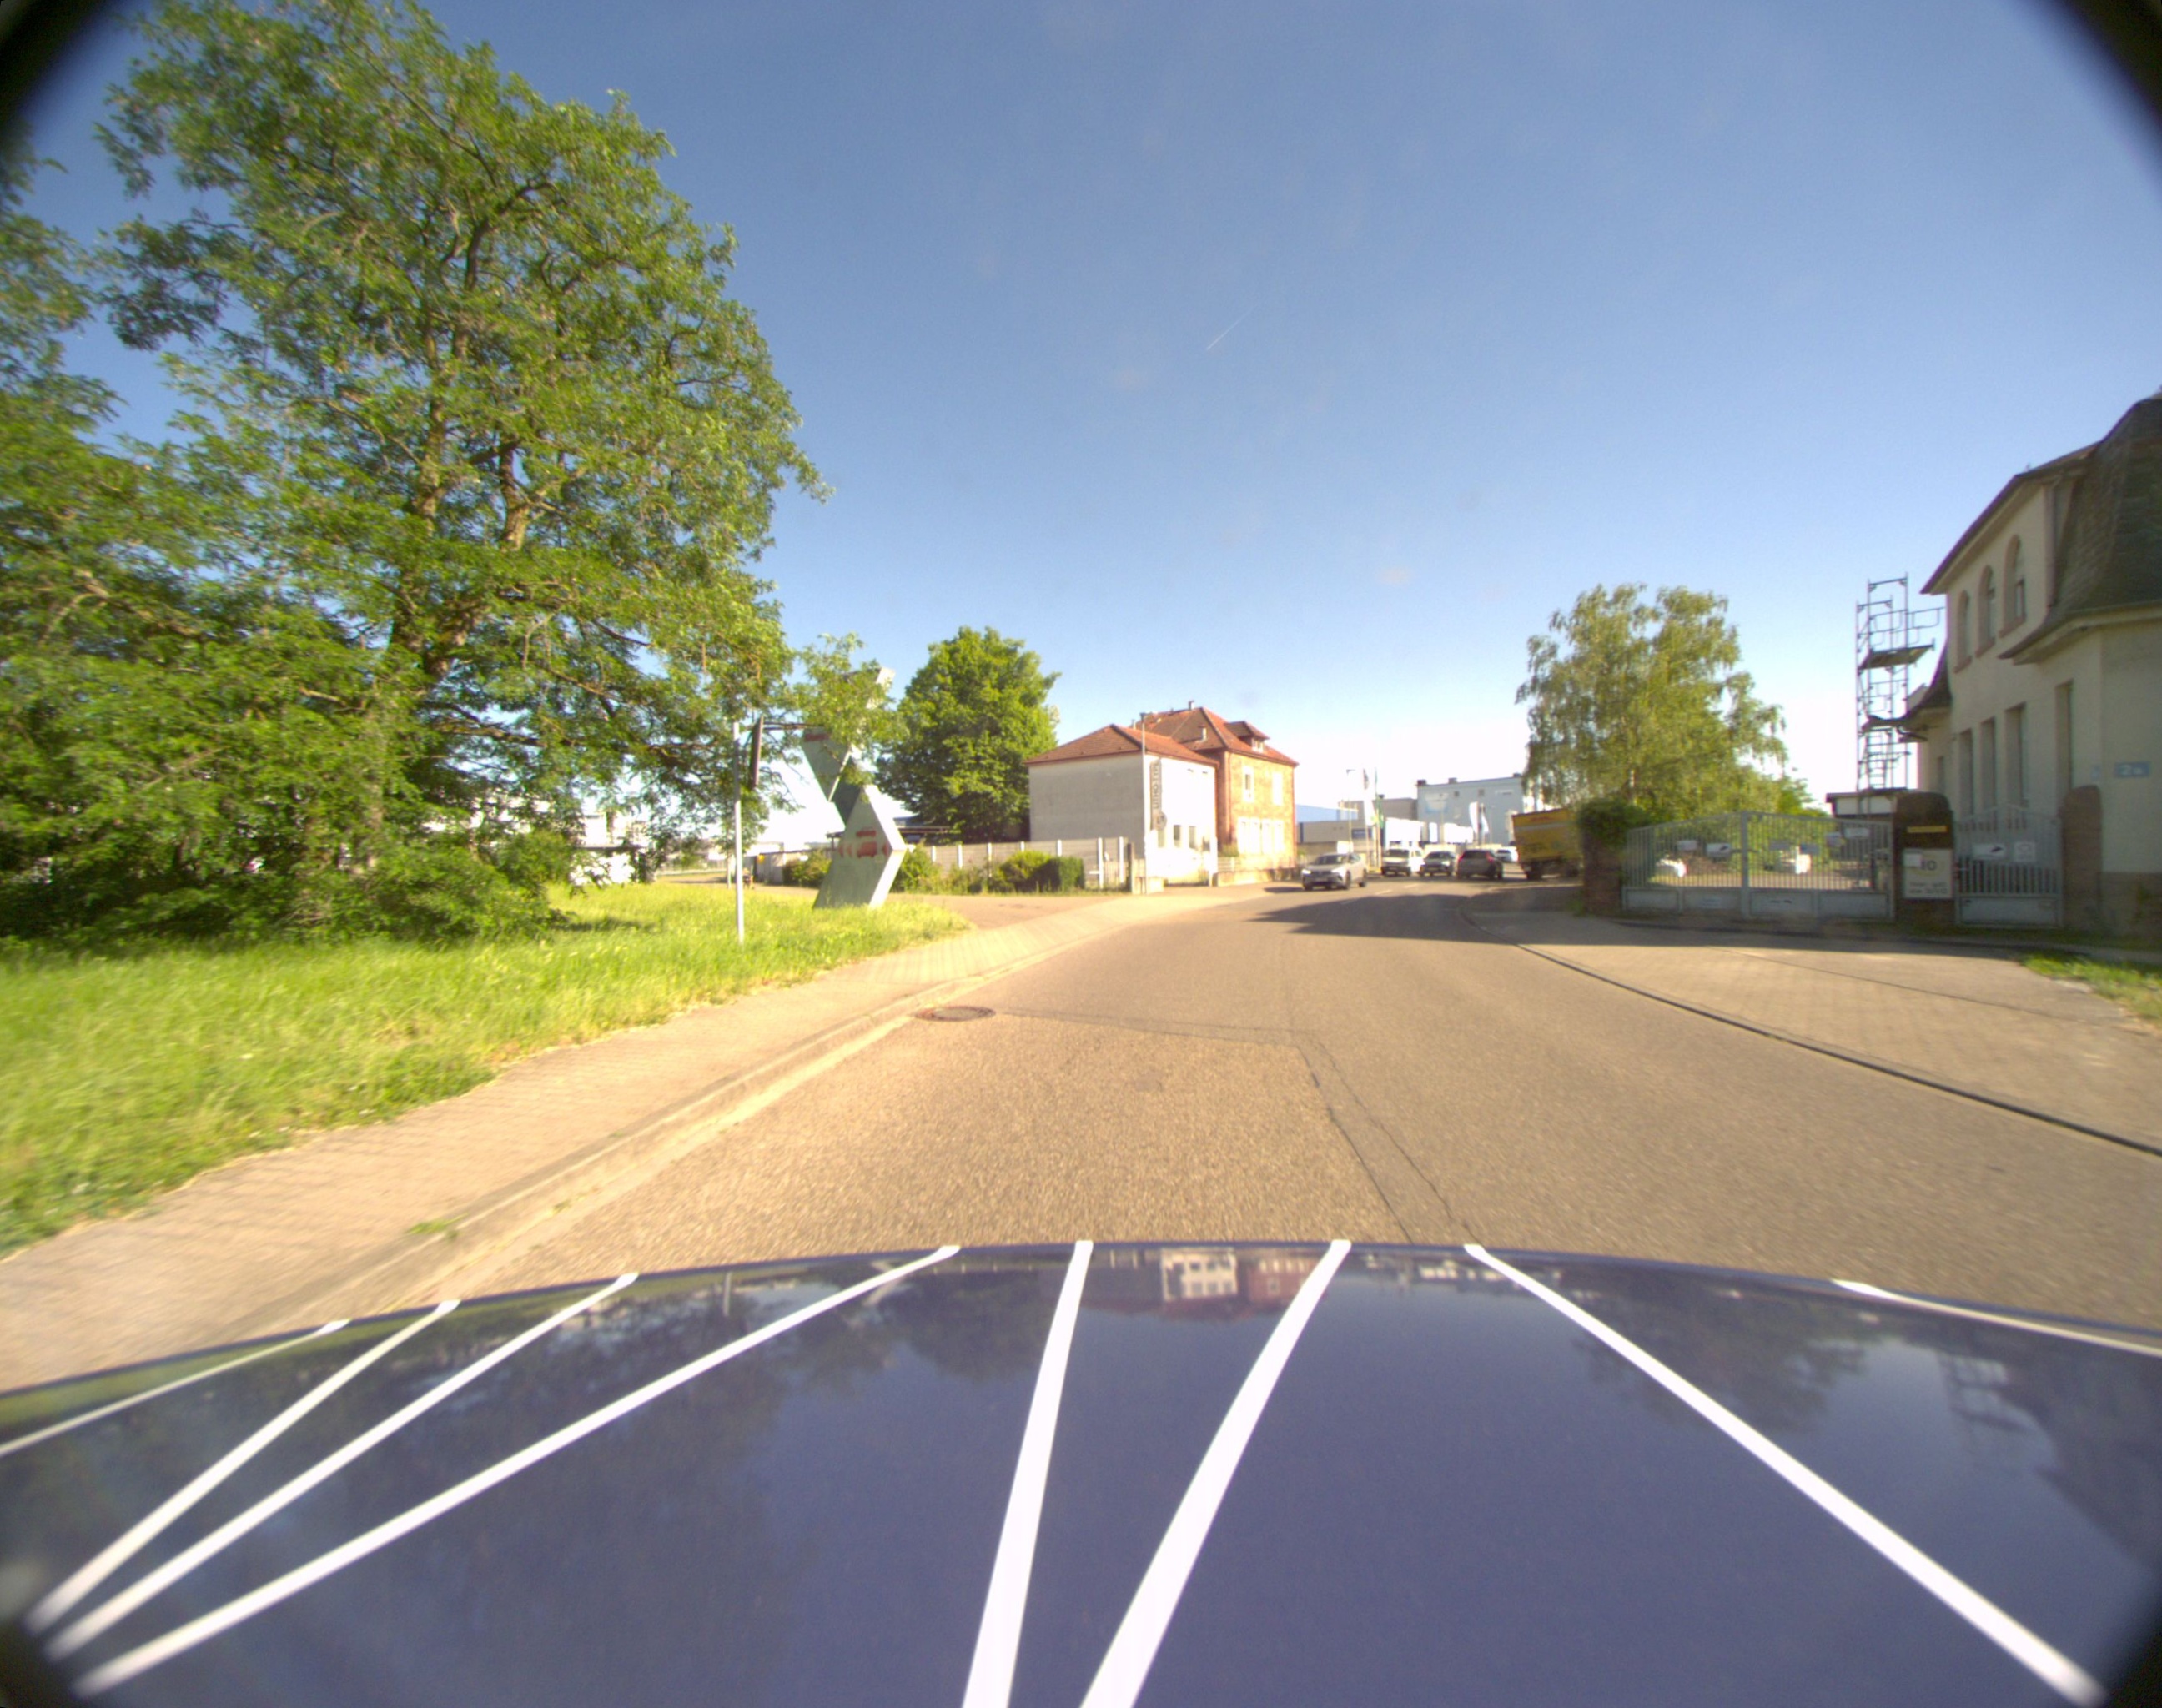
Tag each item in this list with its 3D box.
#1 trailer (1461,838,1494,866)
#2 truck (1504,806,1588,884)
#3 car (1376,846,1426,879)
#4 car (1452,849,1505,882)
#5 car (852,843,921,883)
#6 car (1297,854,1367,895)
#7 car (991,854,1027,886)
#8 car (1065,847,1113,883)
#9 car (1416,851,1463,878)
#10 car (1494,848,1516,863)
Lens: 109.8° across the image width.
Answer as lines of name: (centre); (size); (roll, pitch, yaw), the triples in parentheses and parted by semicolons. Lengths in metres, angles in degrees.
trailer: (40.036, -0.190, 76.621); (2.157, 2.701, 4.206); (0, 0, 38)
truck: (25.307, -0.424, 41.167); (2.844, 3.596, 8.023); (-7, -4, 36)
car: (21.670, 0.528, 51.323); (1.847, 2.001, 4.724); (-5, -3, 37)
car: (21.889, 0.608, 41.755); (1.994, 1.685, 4.575); (-1, 0, 35)
car: (-12.880, 0.577, 50.112); (5.019, 2.526, 1.842); (0, 0, 41)
car: (11.014, 0.838, 33.146); (1.846, 1.621, 4.304); (-1, 0, 33)
car: (-4.280, 0.898, 44.682); (2.000, 1.767, 4.363); (-1, 0, -7)
car: (0.374, 0.560, 40.511); (2.000, 1.767, 4.363); (-1, 0, -7)
car: (22.448, 0.618, 47.479); (1.846, 1.621, 4.304); (-1, 0, 36)
car: (50.693, 0.188, 90.796); (1.846, 1.695, 4.304); (-1, 0, 36)
